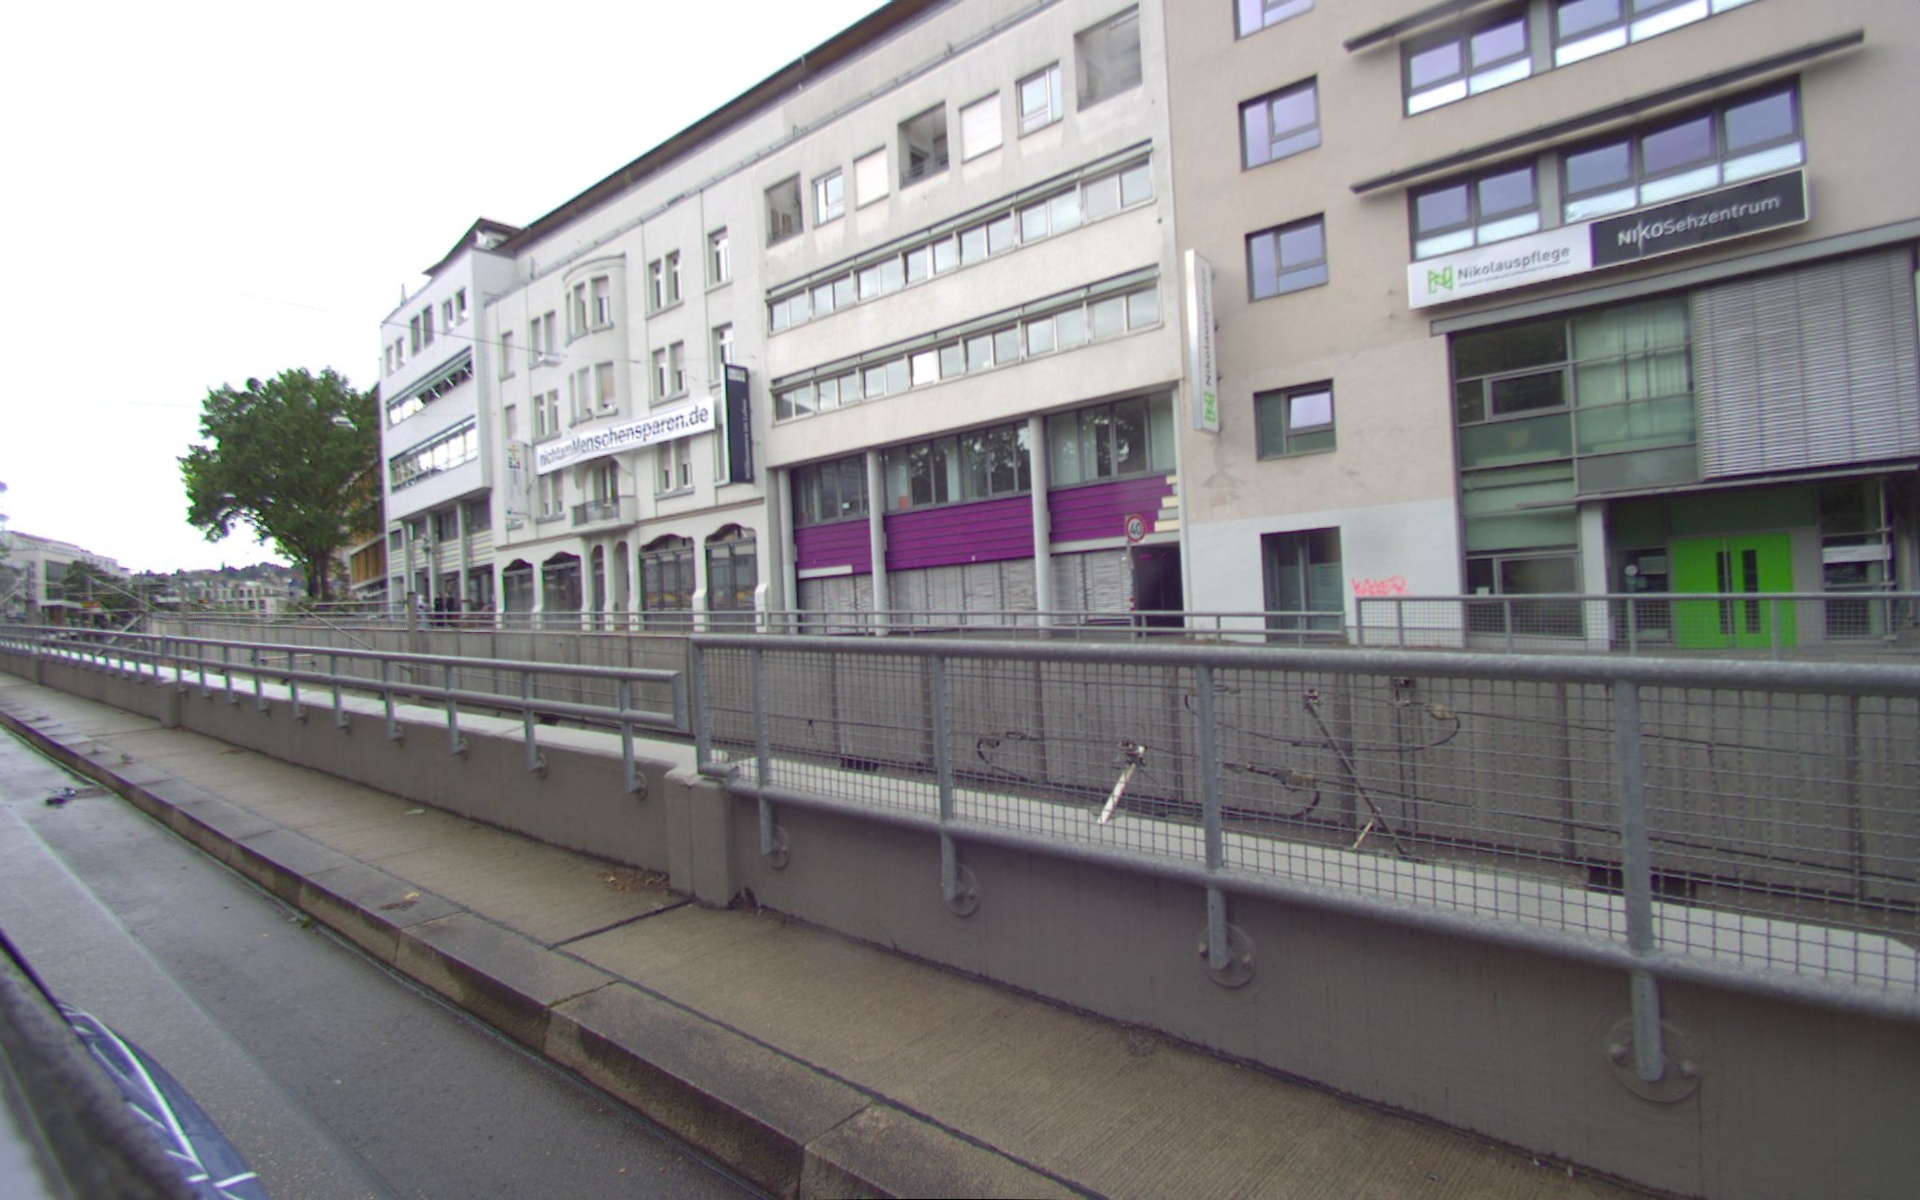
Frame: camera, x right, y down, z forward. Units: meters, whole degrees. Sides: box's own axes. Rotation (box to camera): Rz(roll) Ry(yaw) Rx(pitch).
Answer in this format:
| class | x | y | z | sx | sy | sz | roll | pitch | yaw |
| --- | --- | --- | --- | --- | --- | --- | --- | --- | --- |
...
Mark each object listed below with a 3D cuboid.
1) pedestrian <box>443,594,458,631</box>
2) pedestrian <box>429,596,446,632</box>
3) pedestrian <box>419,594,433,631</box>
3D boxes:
| class | x | y | z | sx | sy | sz | roll | pitch | yaw |
| --- | --- | --- | --- | --- | --- | --- | --- | --- | --- |
| pedestrian | -25.417 | 0.621 | 50.471 | 0.547 | 1.816 | 0.463 | -2 | 1 | 44 |
| pedestrian | -26.432 | 0.721 | 51.220 | 0.469 | 1.816 | 0.541 | -2 | 1 | 33 |
| pedestrian | -26.690 | 0.639 | 50.586 | 0.463 | 1.816 | 0.548 | -3 | 1 | -42 |
